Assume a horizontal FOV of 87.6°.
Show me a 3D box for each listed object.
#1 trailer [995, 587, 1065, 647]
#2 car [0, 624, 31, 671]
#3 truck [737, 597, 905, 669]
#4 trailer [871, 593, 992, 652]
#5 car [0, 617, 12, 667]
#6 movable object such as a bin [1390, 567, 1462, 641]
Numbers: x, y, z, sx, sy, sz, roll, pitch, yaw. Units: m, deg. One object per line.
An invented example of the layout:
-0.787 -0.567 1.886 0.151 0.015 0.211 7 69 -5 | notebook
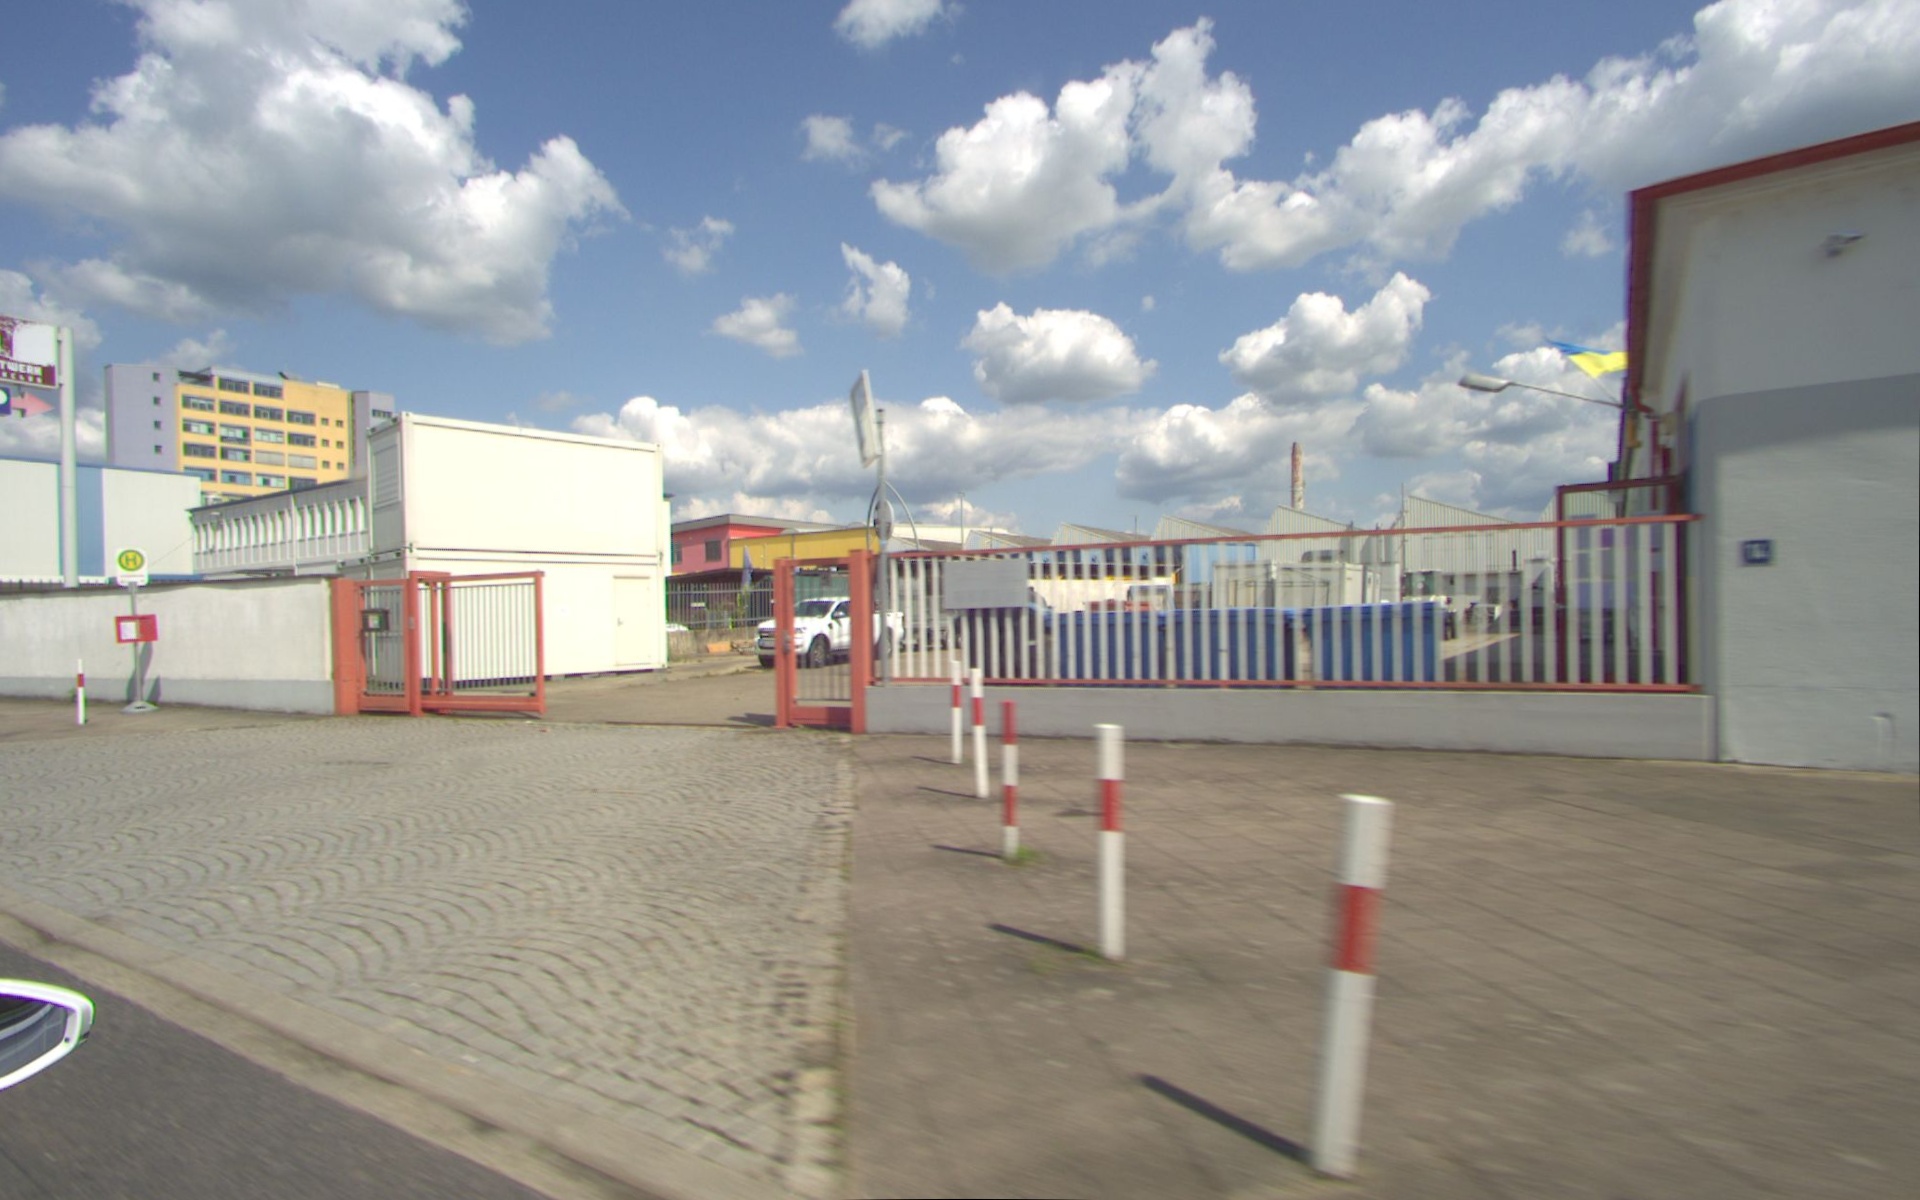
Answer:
2.589 0.568 35.920 1.721 1.965 4.746 -1 0 13 | trailer
-32.078 1.527 31.844 1.766 1.509 3.397 -2 -2 32 | car
-3.669 0.829 27.619 1.969 1.767 5.188 -1 0 27 | truck
-0.834 0.692 33.025 1.969 1.767 4.732 -1 0 27 | trailer
-34.071 1.419 33.013 1.766 1.702 3.799 -2 -2 32 | car
16.732 0.176 35.864 1.971 2.477 3.823 -1 -1 30 | movable object such as a bin
